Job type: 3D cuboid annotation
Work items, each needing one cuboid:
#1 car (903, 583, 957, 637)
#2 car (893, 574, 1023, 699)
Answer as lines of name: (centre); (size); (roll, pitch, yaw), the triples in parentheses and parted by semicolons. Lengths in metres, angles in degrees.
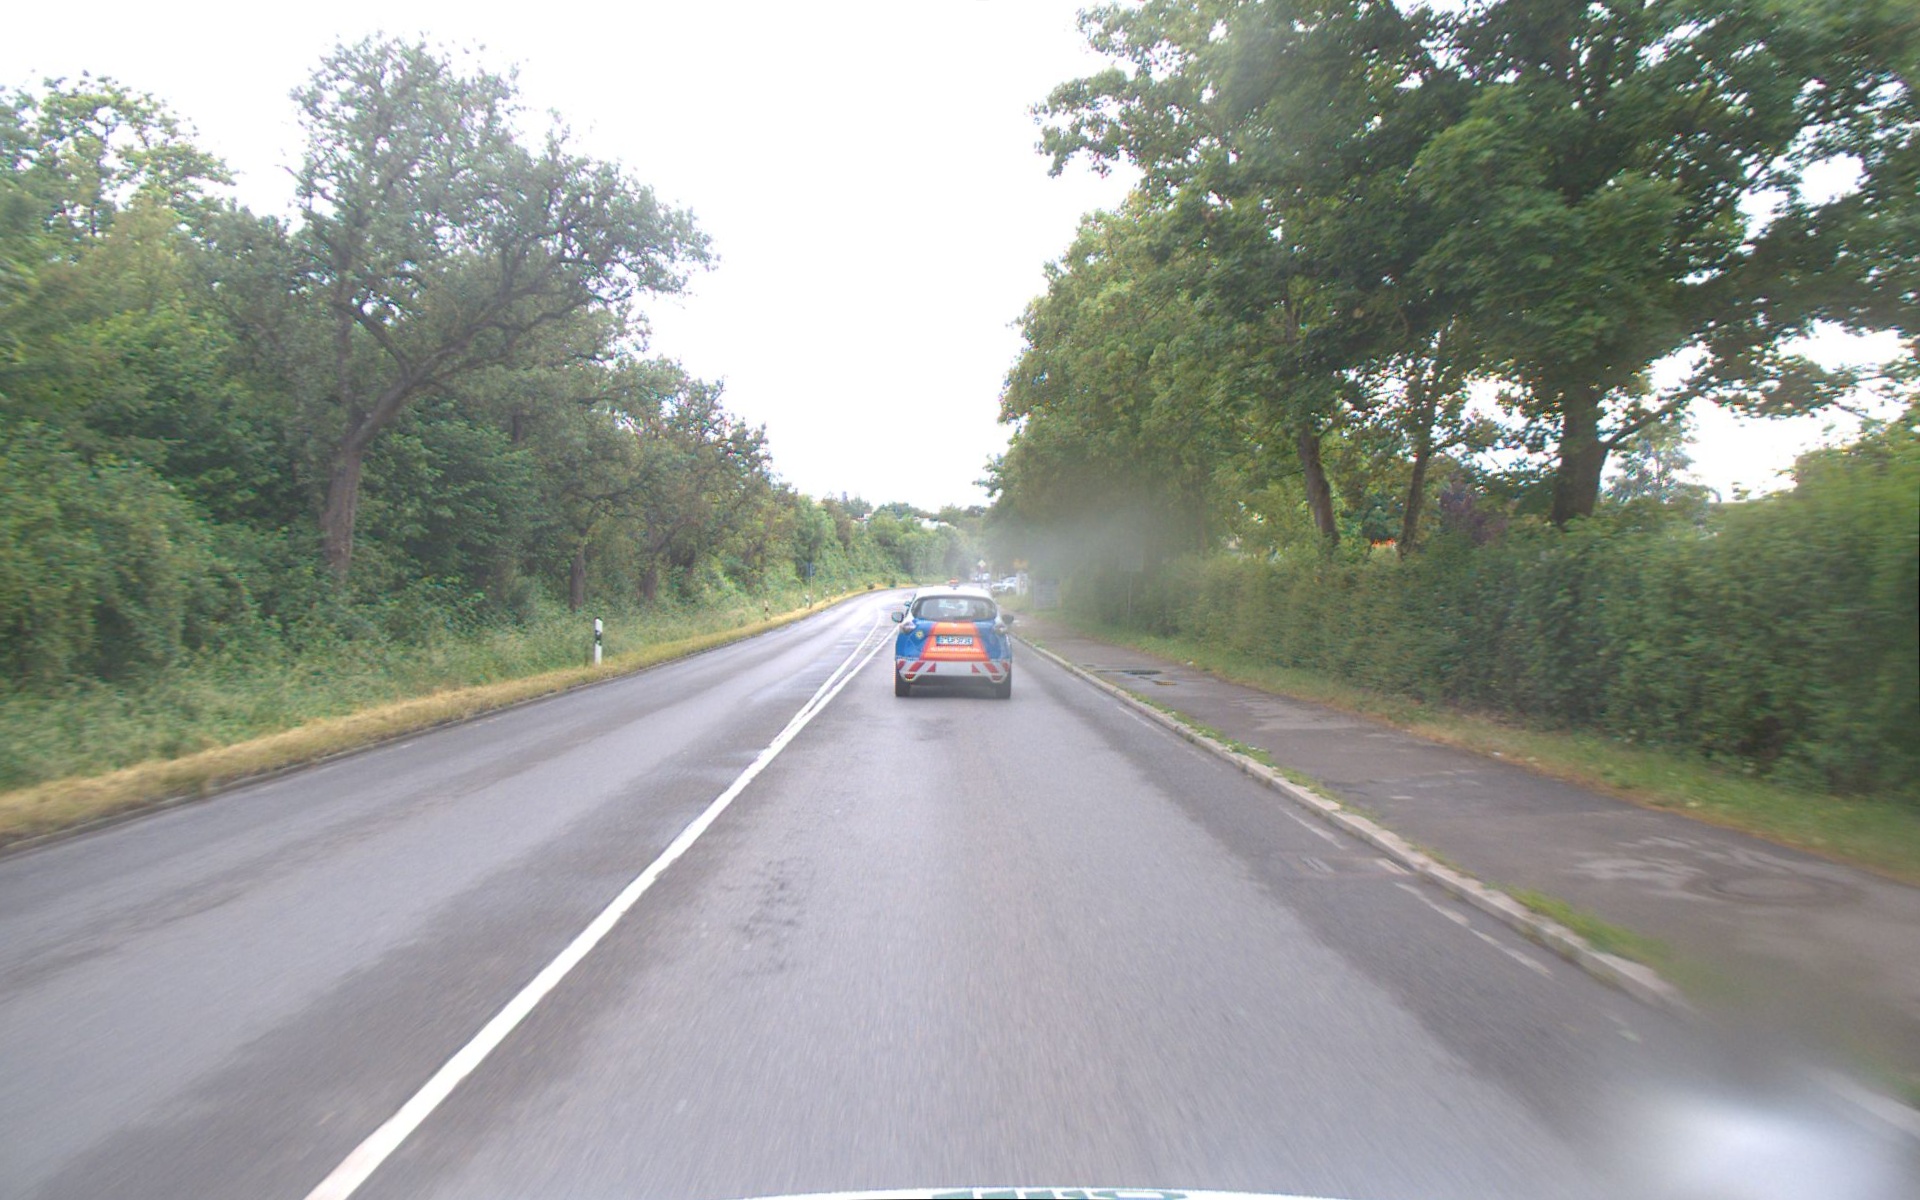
car: (-0.993, 0.299, 53.319); (1.660, 1.623, 3.854); (1, 0, -2)
car: (-0.067, 0.499, 24.952); (1.769, 1.697, 3.855); (1, 0, -1)
